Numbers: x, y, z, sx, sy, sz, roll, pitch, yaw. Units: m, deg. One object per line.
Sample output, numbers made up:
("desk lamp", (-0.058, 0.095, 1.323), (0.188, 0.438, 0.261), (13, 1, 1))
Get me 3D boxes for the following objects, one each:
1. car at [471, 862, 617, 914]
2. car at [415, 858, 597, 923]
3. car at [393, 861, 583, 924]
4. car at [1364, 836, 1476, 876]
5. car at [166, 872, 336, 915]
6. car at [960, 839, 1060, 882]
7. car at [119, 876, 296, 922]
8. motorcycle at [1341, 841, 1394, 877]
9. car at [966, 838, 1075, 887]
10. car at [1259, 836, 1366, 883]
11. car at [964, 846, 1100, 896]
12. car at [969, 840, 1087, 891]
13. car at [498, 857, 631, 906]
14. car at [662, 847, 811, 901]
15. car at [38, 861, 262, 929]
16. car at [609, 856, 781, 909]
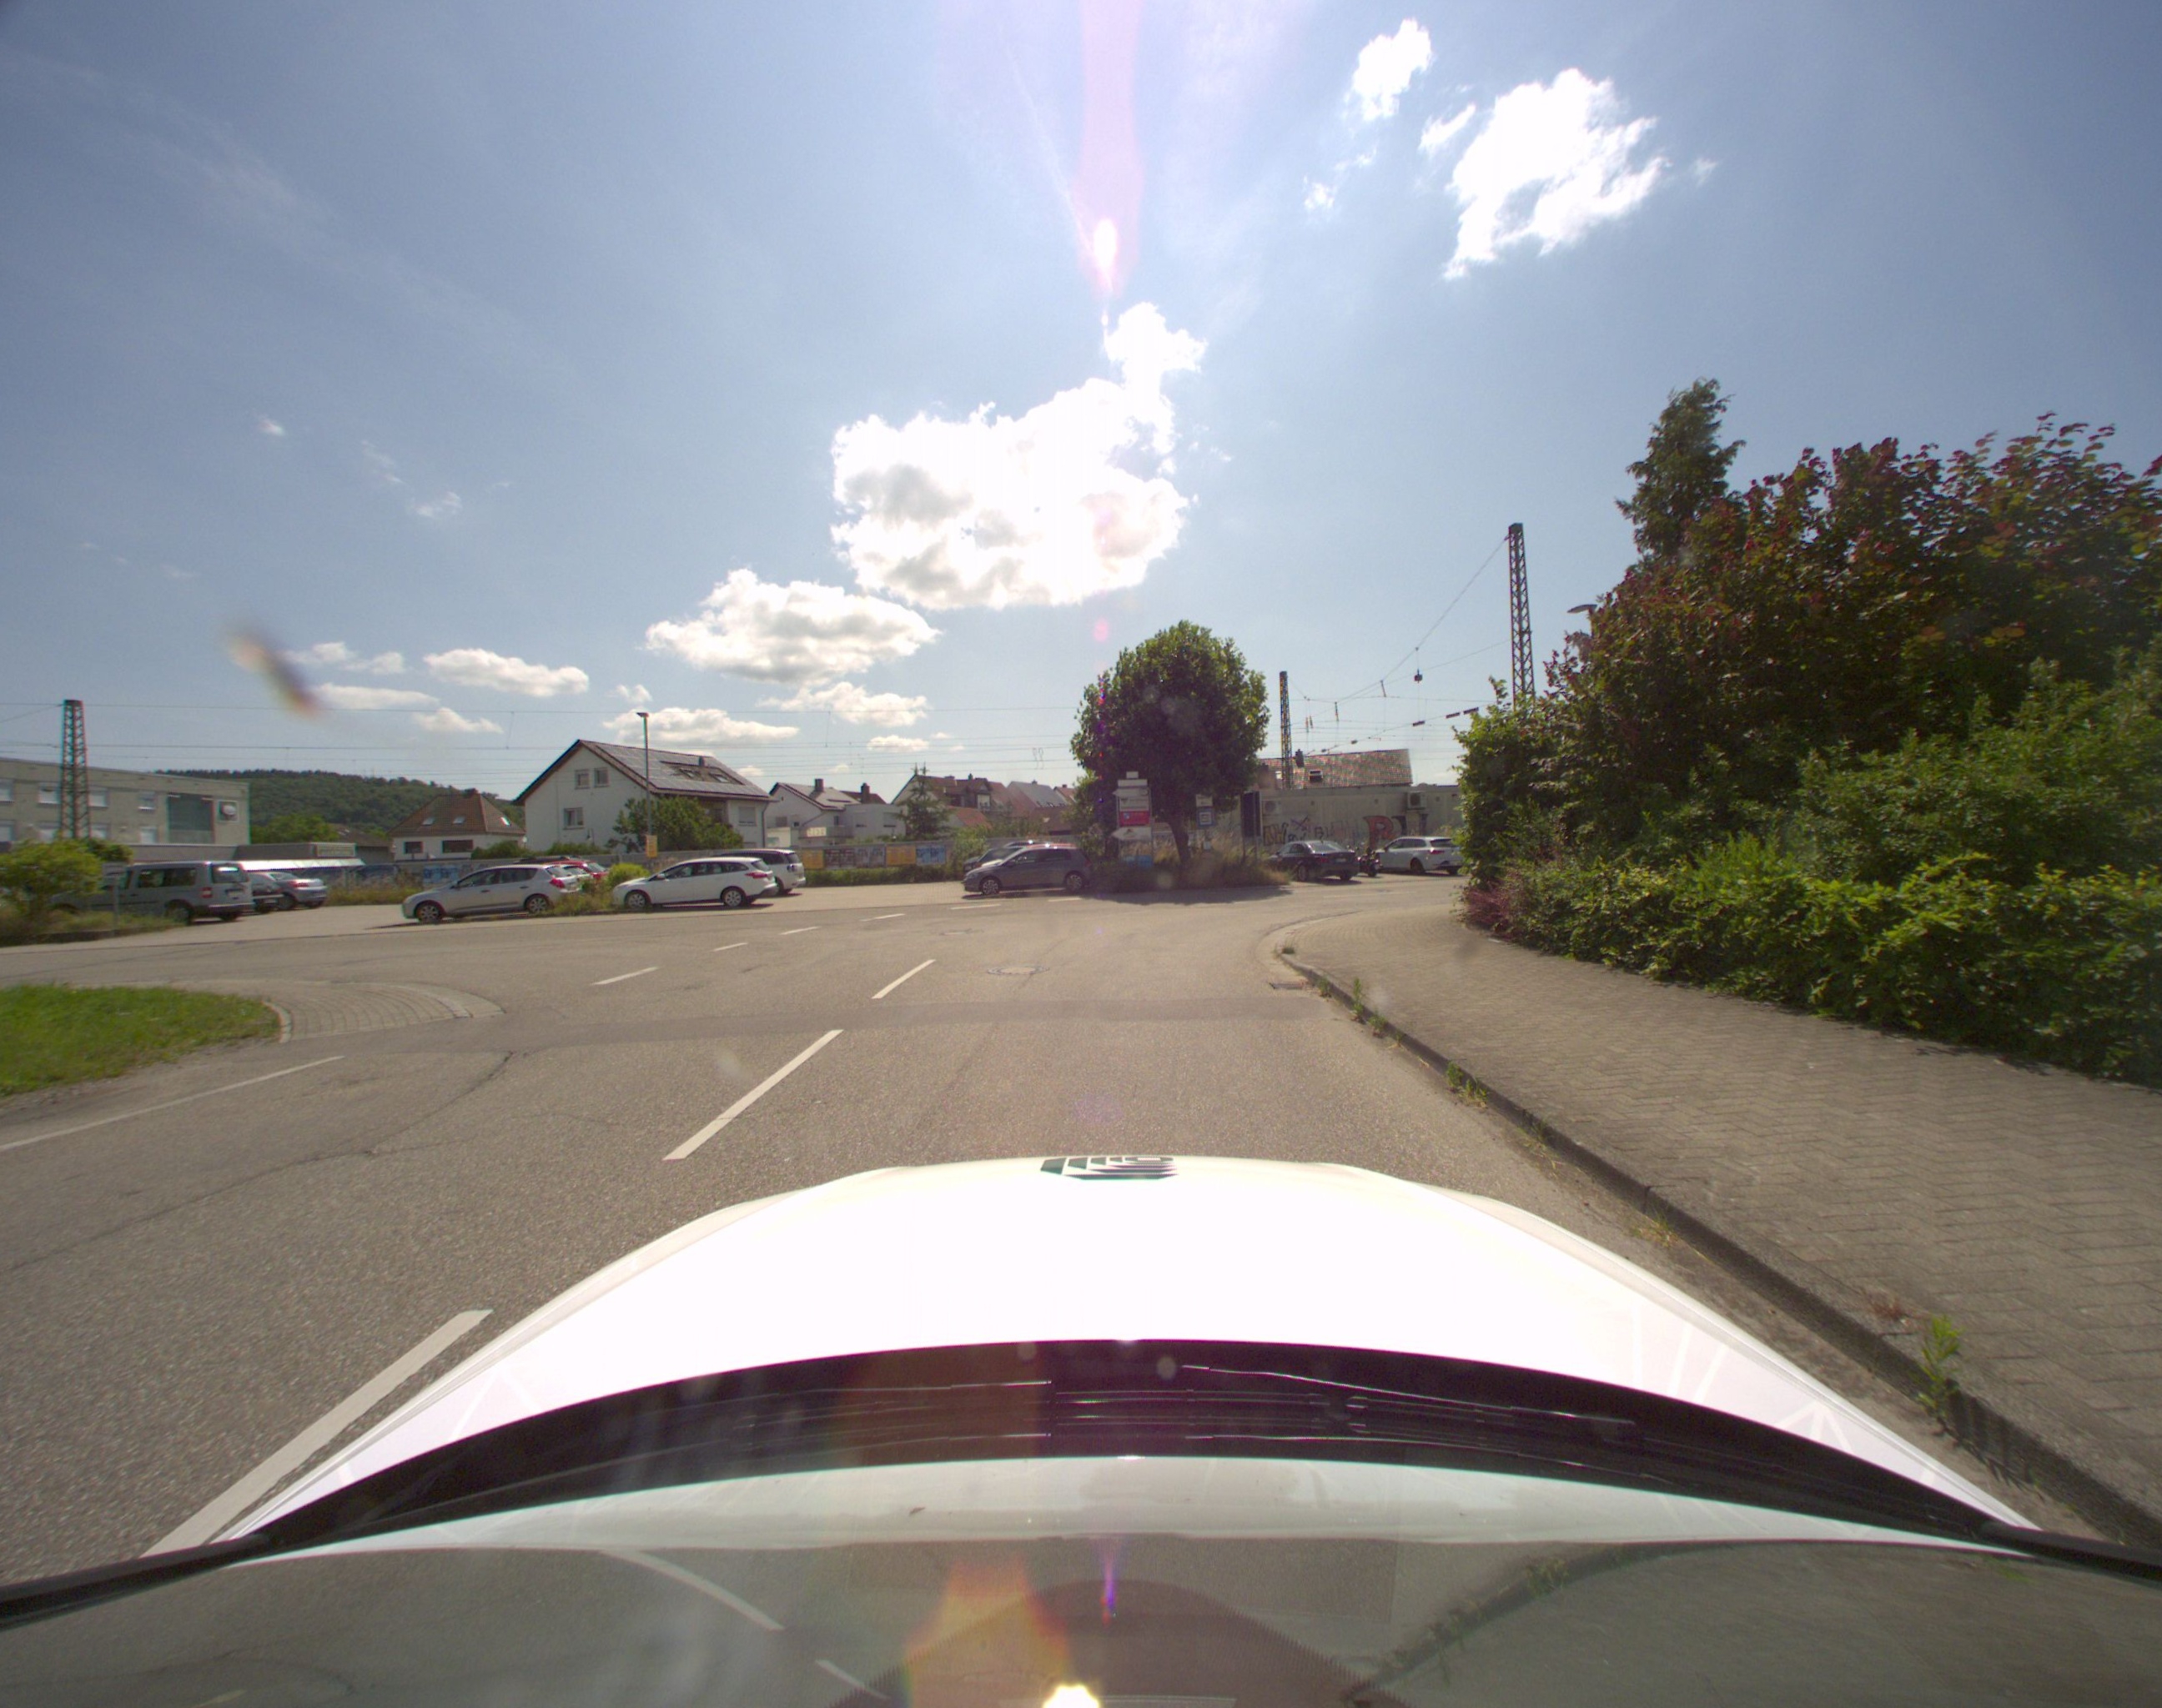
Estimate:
("car", (-18.461, 1.134, 28.169), (3.785, 1.558, 1.688), (-2, 0, -12))
("car", (-17.971, 1.093, 25.684), (4.168, 1.638, 1.945), (-4, 0, -15))
("car", (-16.976, 1.060, 23.548), (4.009, 1.562, 1.813), (-2, 0, -16))
("car", (12.679, 0.010, 30.718), (1.707, 1.377, 4.091), (-1, 1, -17))
("car", (-29.183, 1.370, 28.743), (3.983, 1.420, 1.680), (0, -1, -7))
("car", (-2.934, 0.260, 33.609), (3.984, 1.730, 1.765), (0, -1, -8))
("car", (-28.539, 1.445, 26.718), (3.657, 1.222, 1.669), (-2, 0, -8))
("motorcycle", (10.537, 0.148, 30.059), (0.898, 1.228, 1.987), (-2, 2, -14))
("car", (-2.347, 0.289, 31.212), (3.984, 1.657, 1.995), (-2, 0, -8))
("car", (8.143, 0.136, 29.031), (1.756, 1.385, 3.977), (-1, 3, -18))
("car", (-1.585, 0.519, 26.123), (4.183, 1.463, 1.661), (-1, 0, -7))
("car", (-1.910, 0.379, 28.753), (3.983, 1.586, 1.775), (-2, 0, -7))
("car", (-19.089, 0.976, 30.260), (3.835, 1.589, 1.490), (-2, 0, -14))
("car", (-12.179, 0.673, 29.068), (4.447, 1.690, 1.996), (-1, 1, -7))
("car", (-27.297, 1.159, 24.037), (3.987, 1.815, 1.899), (0, 1, -10))
("car", (-11.467, 0.821, 24.479), (4.283, 1.477, 1.821), (0, -1, -10))
